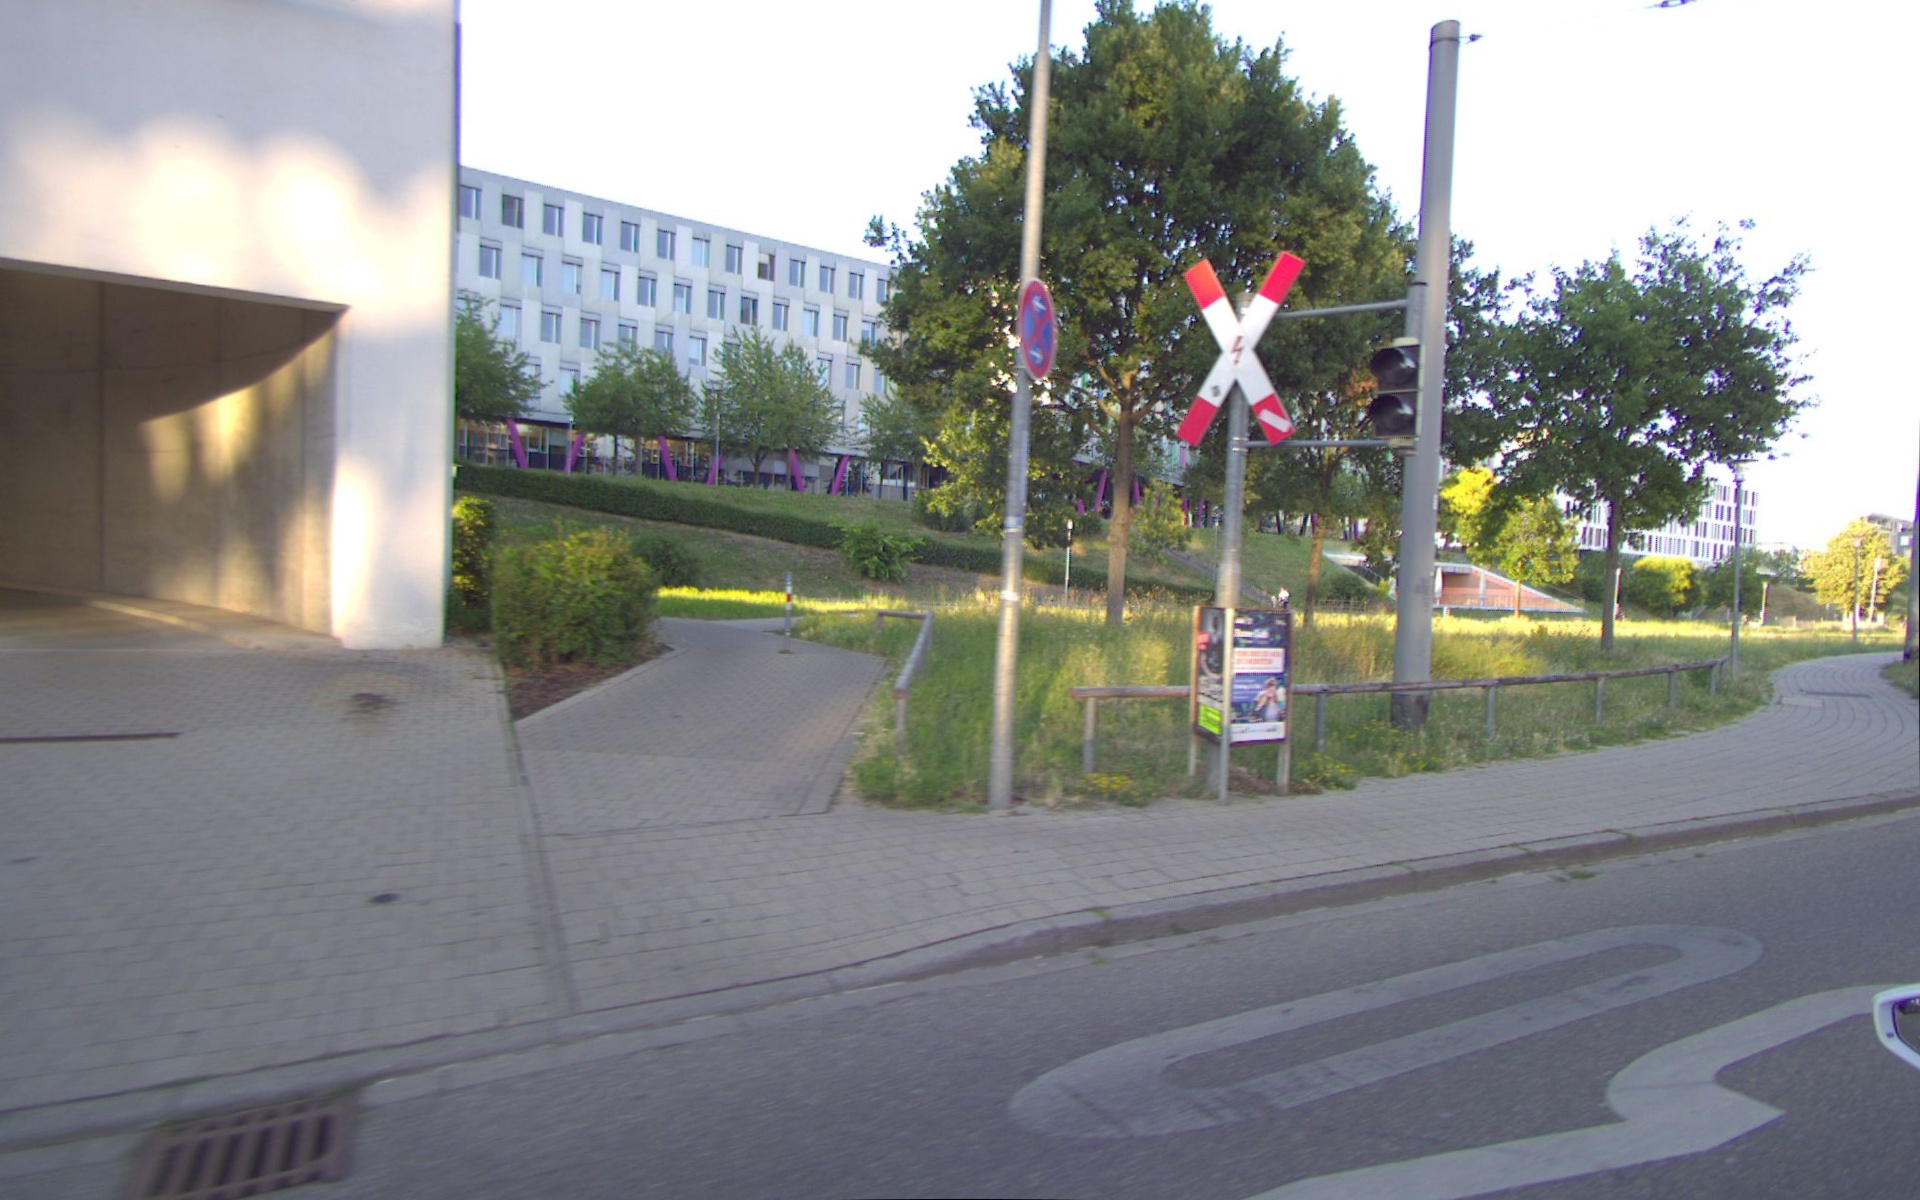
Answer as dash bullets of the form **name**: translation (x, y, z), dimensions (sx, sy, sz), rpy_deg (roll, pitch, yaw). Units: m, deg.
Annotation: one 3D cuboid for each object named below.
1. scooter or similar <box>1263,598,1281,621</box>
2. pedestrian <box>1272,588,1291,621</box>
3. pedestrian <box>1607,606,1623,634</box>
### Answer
- **scooter or similar**: translation (18.267, 0.540, 58.811), dimensions (0.780, 1.261, 0.613), rpy_deg (2, 3, -28)
- **pedestrian**: translation (19.003, 0.254, 59.374), dimensions (0.780, 1.861, 0.613), rpy_deg (1, 3, -28)
- **pedestrian**: translation (50.320, 1.508, 77.166), dimensions (0.780, 2.110, 0.613), rpy_deg (1, 3, -28)
